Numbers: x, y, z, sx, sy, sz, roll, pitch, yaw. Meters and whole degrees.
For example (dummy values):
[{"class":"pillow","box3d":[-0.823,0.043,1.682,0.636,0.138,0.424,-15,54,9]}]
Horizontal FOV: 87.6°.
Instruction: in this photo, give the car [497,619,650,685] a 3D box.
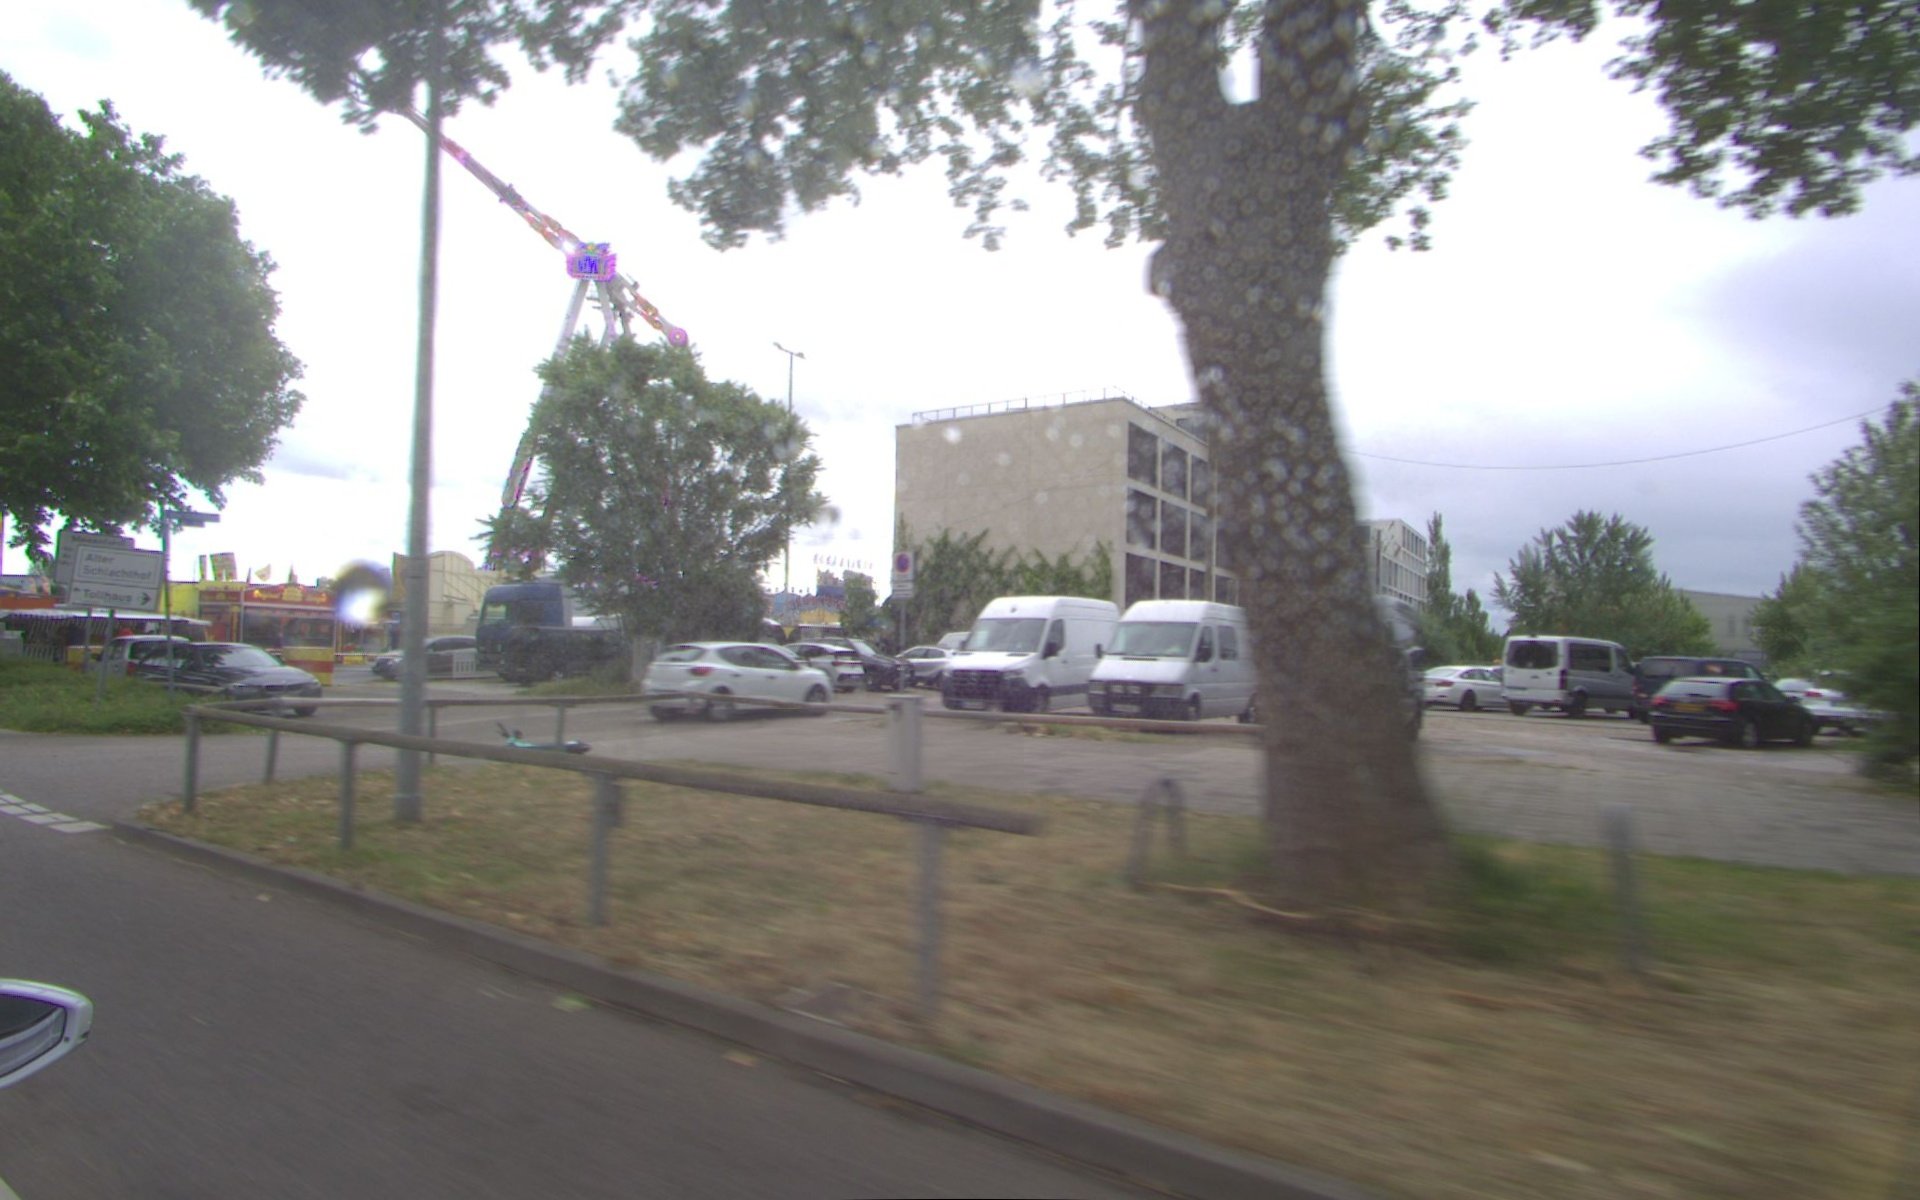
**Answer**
[{"class":"car","box3d":[-13.010,1.729,33.987,1.971,2.039,4.567,1,-1,32]}]

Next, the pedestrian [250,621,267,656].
[{"class":"pedestrian","box3d":[-34.057,1.879,48.608,0.516,1.708,0.492,0,-2,31]}]

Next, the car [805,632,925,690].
[{"class":"car","box3d":[-3.408,2.143,35.825,3.942,1.903,1.883,0,-3,32]}]

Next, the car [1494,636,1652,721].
[{"class":"car","box3d":[18.450,2.338,30.113,4.653,2.373,1.991,2,-3,-28]}]

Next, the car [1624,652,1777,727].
[{"class":"car","box3d":[20.906,2.478,28.263,3.942,1.972,1.992,2,-3,-28]}]

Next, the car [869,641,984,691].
[{"class":"car","box3d":[-1.297,2.507,38.325,3.941,1.665,1.884,1,-3,32]}]

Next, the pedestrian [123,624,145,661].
[{"class":"pedestrian","box3d":[-33.352,1.731,40.437,0.516,1.481,0.492,0,-2,31]}]

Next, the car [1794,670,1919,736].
[{"class":"car","box3d":[23.706,2.630,26.207,3.951,1.538,1.987,3,-3,-36]}]

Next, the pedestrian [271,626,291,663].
[{"class":"pedestrian","box3d":[-31.568,2.082,46.578,0.485,1.708,0.523,0,-2,17]}]

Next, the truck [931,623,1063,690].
[{"class":"truck","box3d":[1.626,2.520,45.541,5.780,2.762,2.042,1,-2,37]}]

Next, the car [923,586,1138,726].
[{"class":"car","box3d":[1.747,1.199,21.575,2.070,2.587,6.016,-1,-3,32]}]

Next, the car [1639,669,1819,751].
[{"class":"car","box3d":[16.356,2.263,21.265,3.951,1.538,1.987,3,-3,-36]}]

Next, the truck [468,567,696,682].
[{"class":"truck","box3d":[-13.996,1.049,37.956,2.563,3.870,8.181,-1,-3,32]}]

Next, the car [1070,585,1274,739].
[{"class":"car","box3d":[4.379,1.304,19.739,2.011,2.565,5.780,-1,-5,33]}]

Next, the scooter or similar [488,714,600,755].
[{"class":"scooter or similar","box3d":[-5.473,1.750,13.131,1.164,0.353,1.323,1,-2,-32]}]

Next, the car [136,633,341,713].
[{"class":"car","box3d":[-14.602,1.430,20.248,3.939,1.448,1.862,-1,-3,29]}]

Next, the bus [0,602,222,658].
[{"class":"bus","box3d":[-38.458,1.391,44.315,1.971,2.255,9.269,-1,-3,31]}]

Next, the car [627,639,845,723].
[{"class":"car","box3d":[-4.335,1.559,19.904,1.867,1.471,3.977,-1,-3,36]}]

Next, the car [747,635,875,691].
[{"class":"car","box3d":[-5.039,2.102,33.787,3.941,1.665,1.884,1,-3,32]}]

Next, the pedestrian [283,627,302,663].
[{"class":"pedestrian","box3d":[-31.649,2.131,47.458,0.485,1.708,0.523,0,-2,17]}]

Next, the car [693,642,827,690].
[{"class":"car","box3d":[-6.414,2.097,32.015,3.942,1.365,1.885,-1,-5,32]}]

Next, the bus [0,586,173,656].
[{"class":"bus","box3d":[-41.489,1.014,45.157,1.971,2.996,9.269,0,-3,31]}]

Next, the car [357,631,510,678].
[{"class":"car","box3d":[-19.193,1.994,36.705,1.971,1.595,4.568,-1,-3,32]}]

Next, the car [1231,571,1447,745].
[{"class":"car","box3d":[6.858,1.101,17.610,2.142,2.552,5.775,0,-5,35]}]

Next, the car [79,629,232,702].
[{"class":"car","box3d":[-19.330,1.528,24.034,3.948,1.614,1.858,-1,-3,36]}]

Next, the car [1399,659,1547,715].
[{"class":"car","box3d":[16.603,2.780,32.378,4.653,1.670,1.992,2,-3,-28]}]
